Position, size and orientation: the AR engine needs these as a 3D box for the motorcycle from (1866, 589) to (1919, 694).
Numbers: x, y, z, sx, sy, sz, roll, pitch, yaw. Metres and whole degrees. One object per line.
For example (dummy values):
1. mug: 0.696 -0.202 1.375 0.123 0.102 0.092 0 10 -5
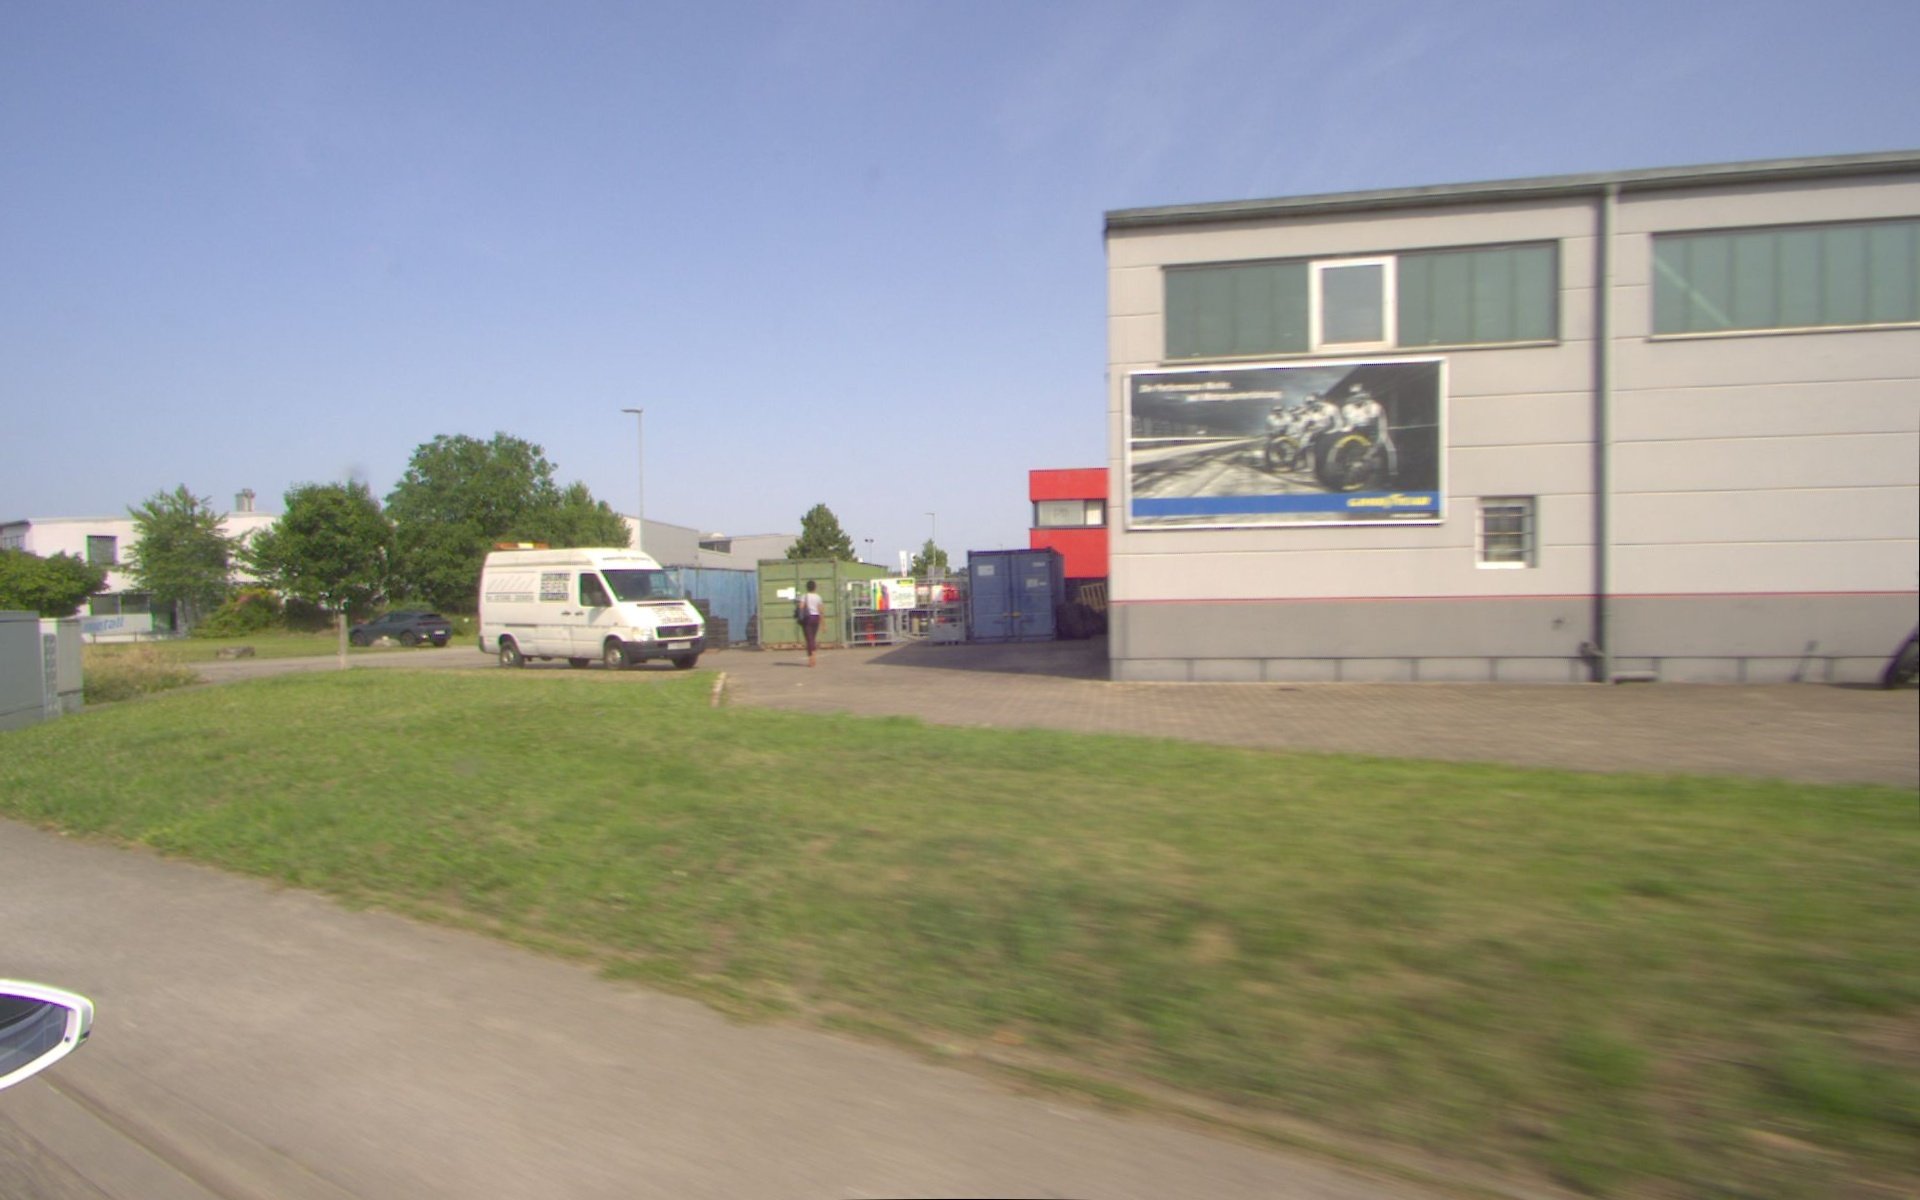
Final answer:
1. motorcycle: 11.231 0.423 10.745 2.160 1.109 0.803 -1 0 8

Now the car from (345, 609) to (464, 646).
1. car: -23.276 1.146 41.986 4.267 1.428 1.785 -1 1 14

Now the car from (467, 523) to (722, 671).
1. car: -7.769 -0.028 21.005 5.799 2.741 1.969 -1 0 34

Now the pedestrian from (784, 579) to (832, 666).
1. pedestrian: -2.998 0.435 19.677 0.694 1.662 0.745 -1 1 -30
